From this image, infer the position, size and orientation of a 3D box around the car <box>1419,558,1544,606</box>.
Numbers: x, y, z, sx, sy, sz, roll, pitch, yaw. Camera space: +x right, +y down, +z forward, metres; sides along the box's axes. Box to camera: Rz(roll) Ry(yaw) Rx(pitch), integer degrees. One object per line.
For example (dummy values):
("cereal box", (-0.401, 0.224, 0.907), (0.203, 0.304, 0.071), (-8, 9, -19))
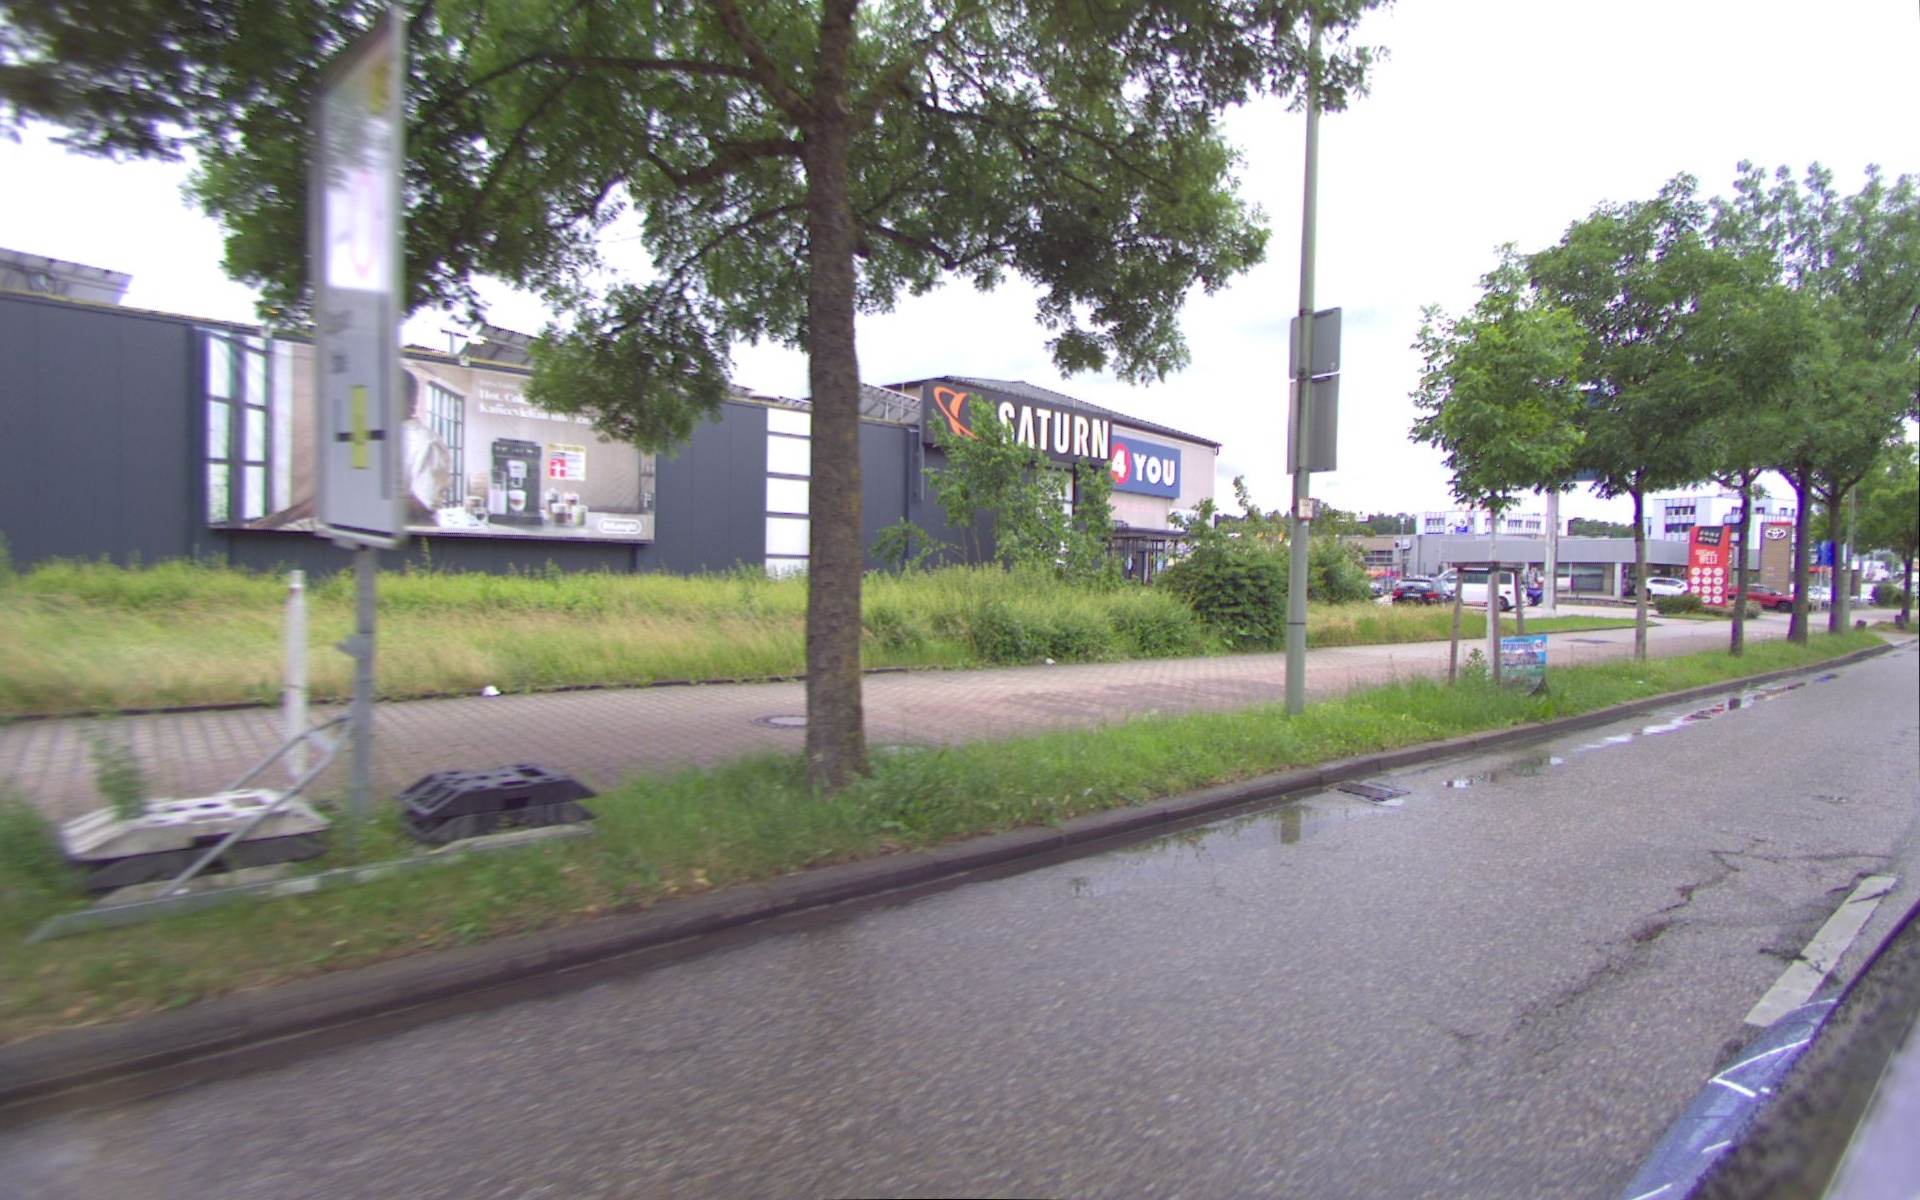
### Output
("car", (24.625, -0.895, 47.886), (4.939, 2.038, 1.973), (4, 3, 38))

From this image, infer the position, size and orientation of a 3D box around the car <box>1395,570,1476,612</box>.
("car", (17.733, -0.369, 37.651), (1.747, 1.430, 4.078), (4, 3, 39))

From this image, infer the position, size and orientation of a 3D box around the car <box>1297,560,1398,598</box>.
("car", (19.892, -1.100, 52.041), (4.434, 1.784, 1.972), (4, 3, 40))

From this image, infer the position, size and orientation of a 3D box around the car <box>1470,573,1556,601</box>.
("car", (31.167, -0.738, 57.081), (3.980, 1.415, 1.654), (3, 3, 38))
